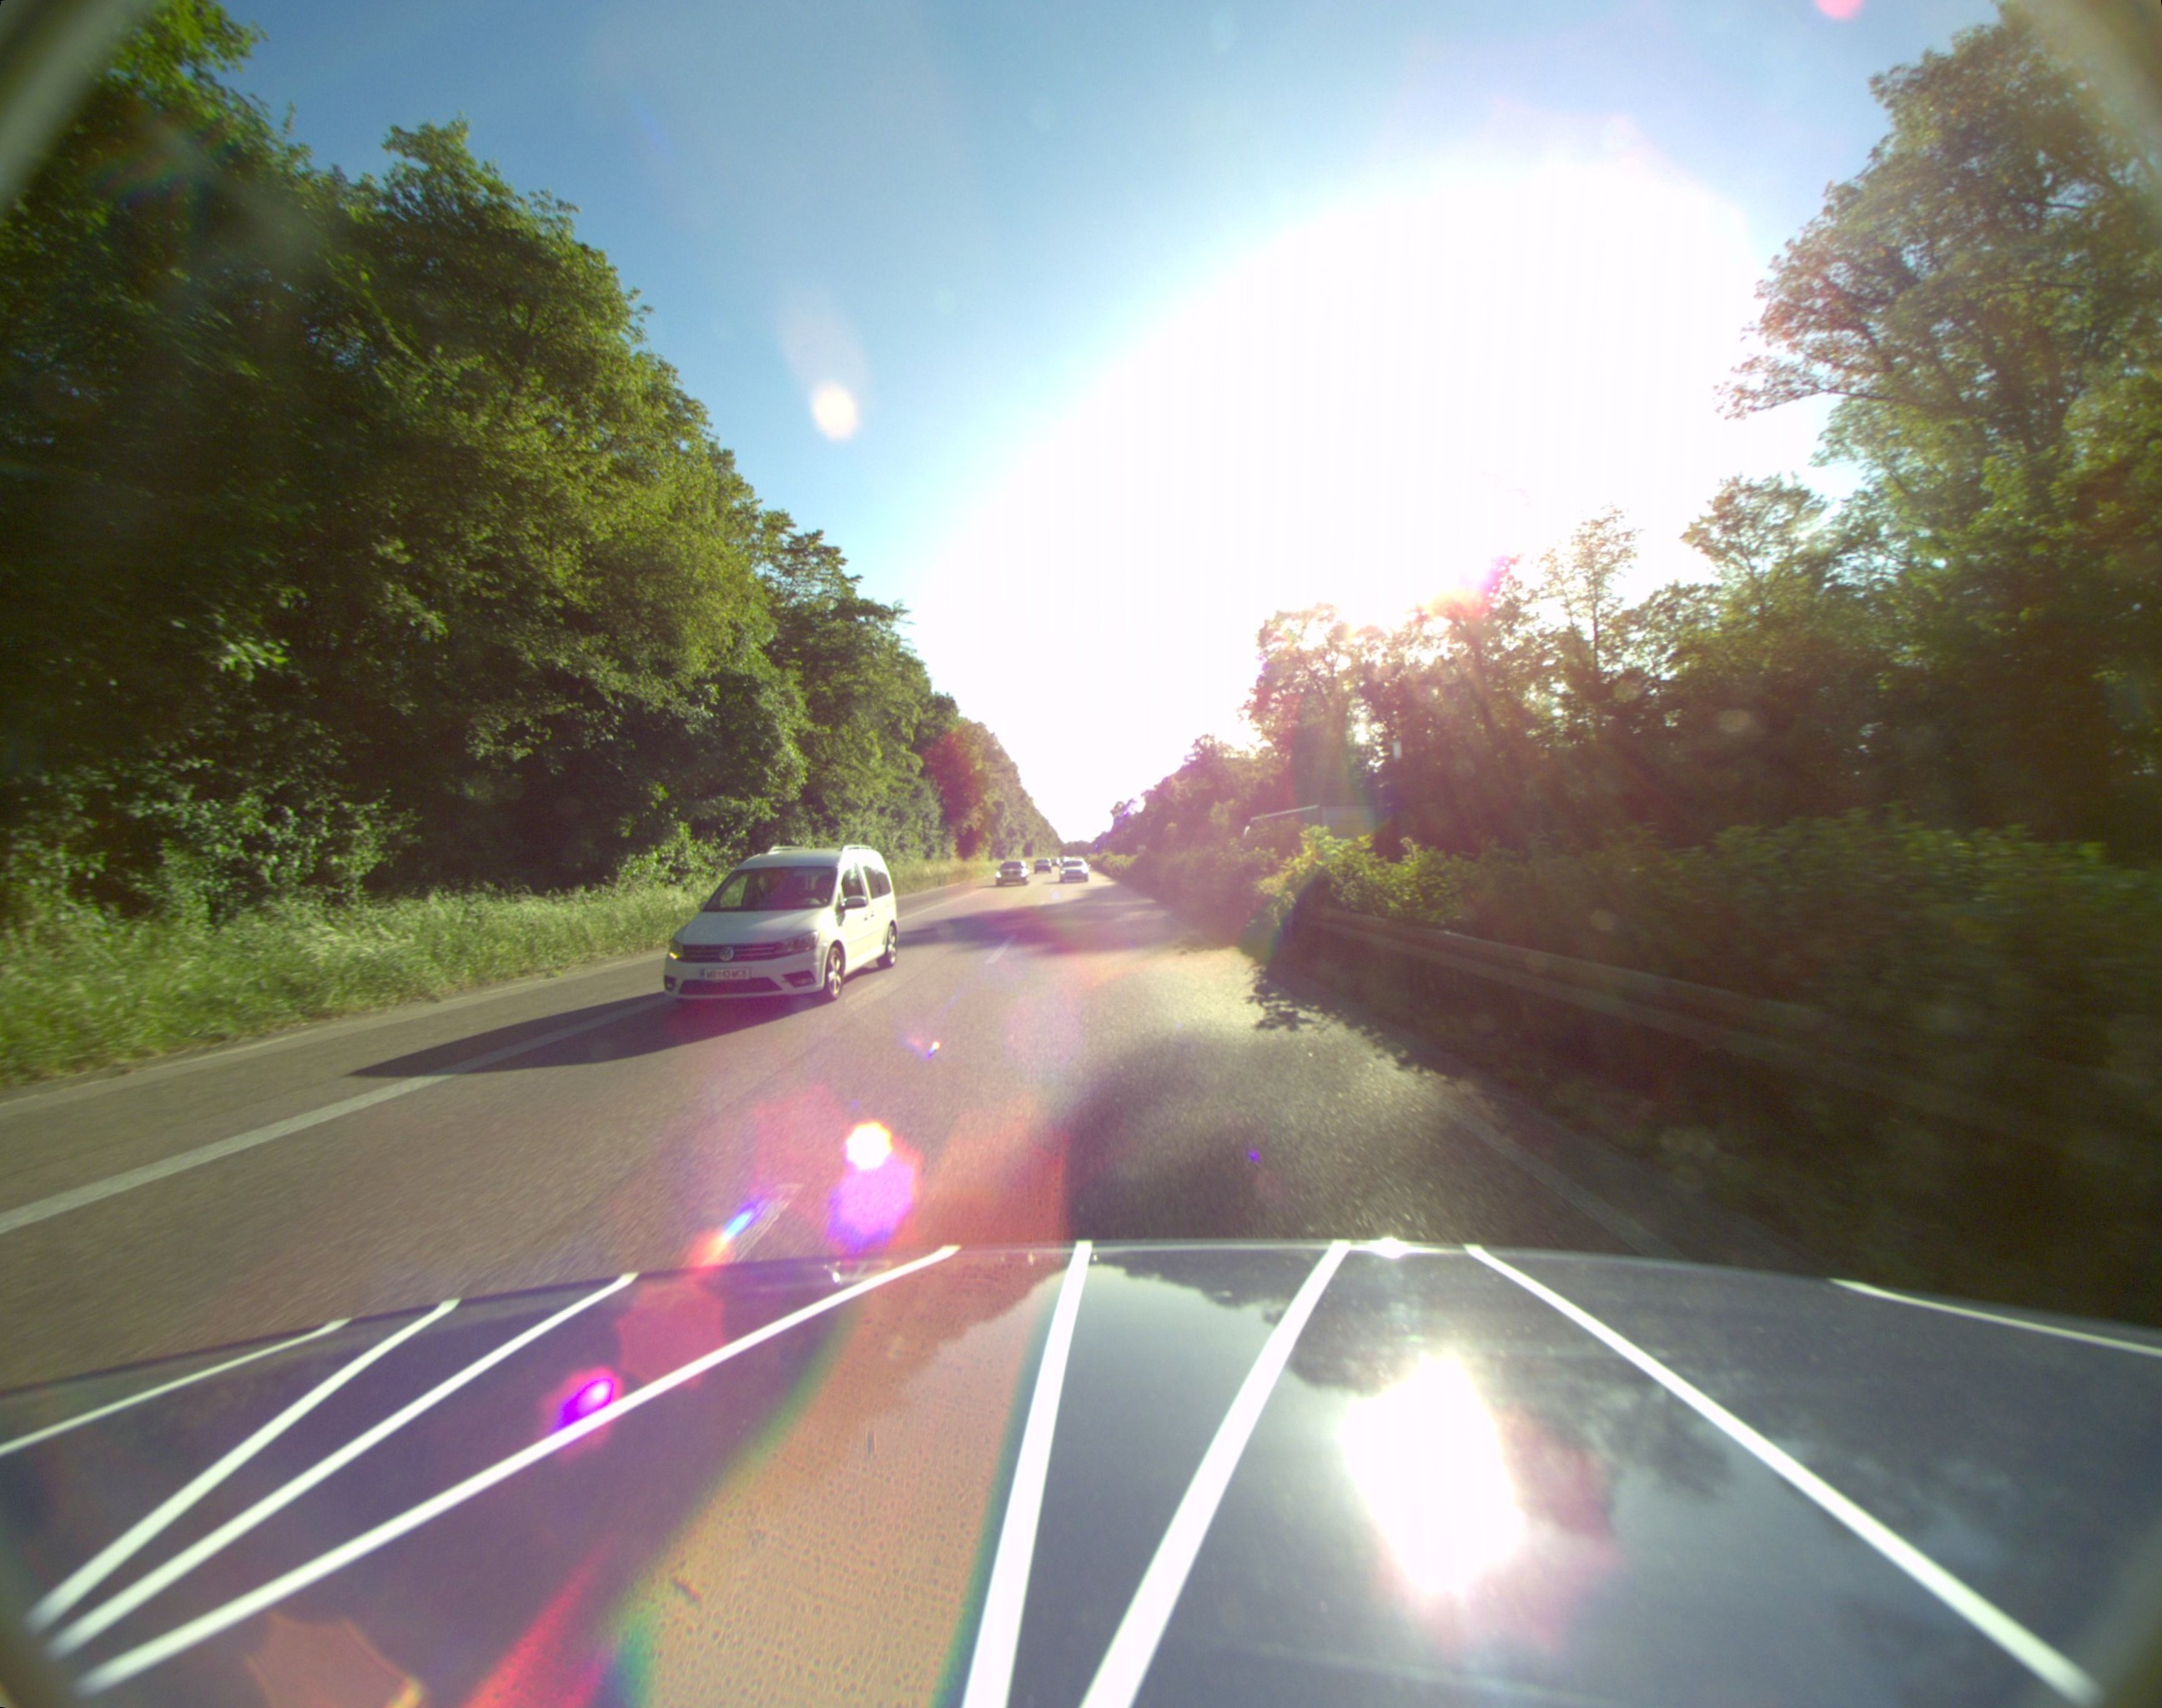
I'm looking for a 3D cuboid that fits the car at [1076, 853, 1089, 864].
[{"bbox_3d":[0.261,0.662,119.624,1.914,1.561,4.324,-2,1,0],"label":"car"}]

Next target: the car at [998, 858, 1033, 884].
[{"bbox_3d":[-3.900,1.007,45.830,1.795,1.440,3.877,-2,0,-1],"label":"car"}]

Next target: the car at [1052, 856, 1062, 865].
[{"bbox_3d":[-4.262,1.186,136.140,1.795,1.440,3.877,-2,0,-1],"label":"car"}]

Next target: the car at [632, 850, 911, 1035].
[{"bbox_3d":[-3.659,0.885,10.037,1.803,1.802,4.586,-2,1,-1],"label":"car"}]

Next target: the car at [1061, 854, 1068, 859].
[{"bbox_3d":[-4.602,0.652,213.474,1.795,1.440,3.877,-2,0,-1],"label":"car"}]

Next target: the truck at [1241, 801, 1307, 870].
[{"bbox_3d":[12.217,-1.135,48.454,2.723,4.073,5.436,-2,1,0],"label":"truck"}]

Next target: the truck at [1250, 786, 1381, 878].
[{"bbox_3d":[12.175,-1.062,41.322,2.714,4.073,14.019,-2,1,0],"label":"truck"}]

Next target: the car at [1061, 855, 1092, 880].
[{"bbox_3d":[-0.274,0.850,48.724,1.890,1.440,3.877,-2,0,0],"label":"car"}]

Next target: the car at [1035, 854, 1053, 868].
[{"bbox_3d":[-3.880,0.727,79.769,1.795,1.440,3.877,-2,0,-1],"label":"car"}]
